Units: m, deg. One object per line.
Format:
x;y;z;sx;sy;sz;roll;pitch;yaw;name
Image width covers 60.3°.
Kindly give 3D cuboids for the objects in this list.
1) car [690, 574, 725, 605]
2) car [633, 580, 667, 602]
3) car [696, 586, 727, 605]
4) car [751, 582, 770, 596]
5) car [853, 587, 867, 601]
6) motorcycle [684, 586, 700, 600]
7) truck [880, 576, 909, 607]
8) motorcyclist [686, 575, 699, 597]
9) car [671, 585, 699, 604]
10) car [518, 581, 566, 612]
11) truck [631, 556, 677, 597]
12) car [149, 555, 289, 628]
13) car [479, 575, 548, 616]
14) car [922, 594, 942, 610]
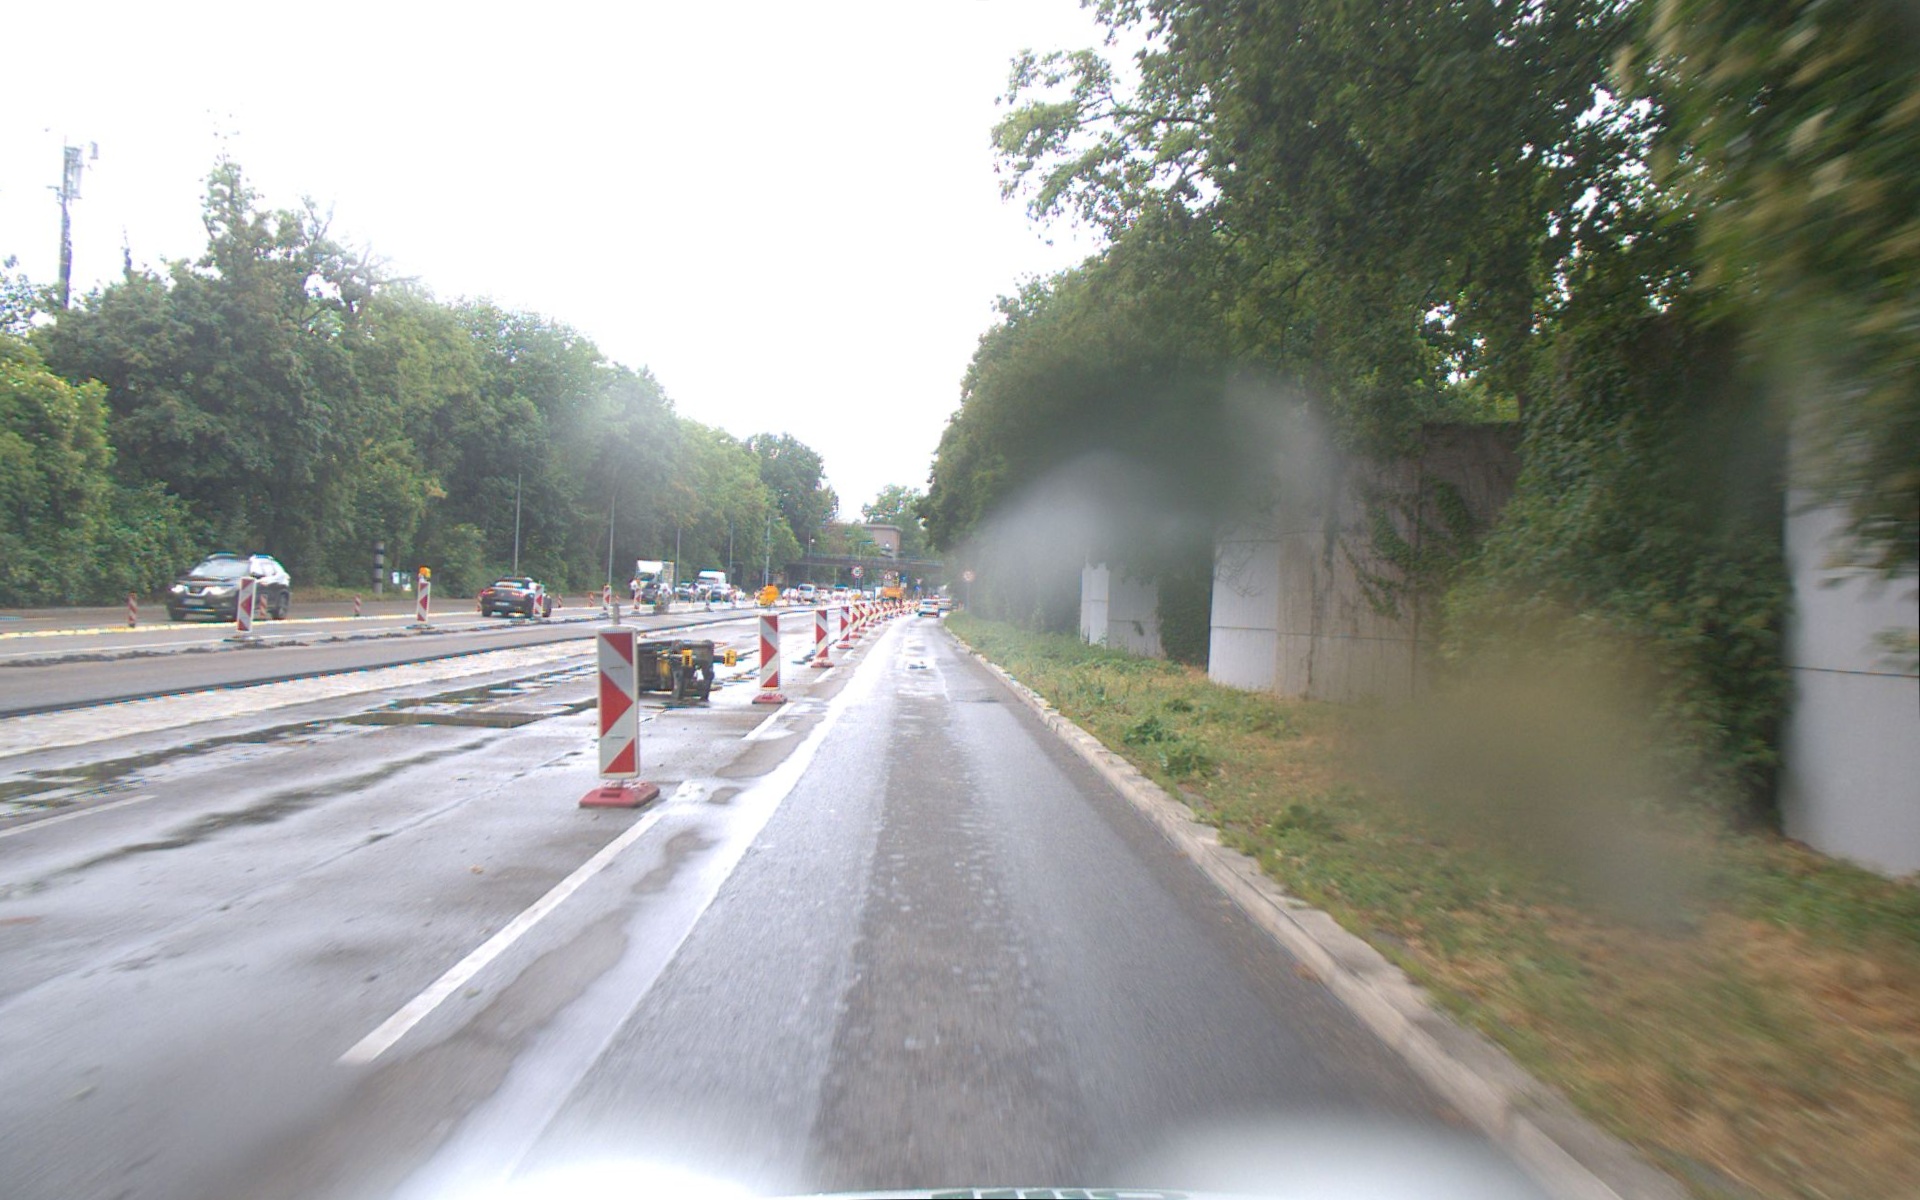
-23.005;-0.962;150.932;2.057;2.624;6.853;2;0;-1;car
-21.229;-0.628;113.226;1.636;1.440;4.318;2;0;-2;car
-21.331;-0.425;142.126;1.920;1.557;4.436;2;0;-1;car
-23.039;-1.276;191.371;1.636;1.511;4.320;2;0;-1;car
-13.550;-0.826;224.176;1.636;1.840;4.320;2;1;-1;car
-20.566;-0.565;126.959;0.811;1.032;2.366;3;0;-2;motorcycle
-7.969;-1.098;202.077;3.193;3.558;13.866;2;0;-1;truck
-20.542;-1.071;126.943;0.811;1.592;0.926;3;0;-2;motorcyclist
-23.669;-0.485;142.488;1.636;1.511;4.320;2;0;-1;car
-19.060;-0.164;75.550;1.419;1.355;3.858;2;0;-4;car
-23.493;-1.766;127.390;2.200;2.991;6.934;2;0;-1;truck
-19.235;-0.219;43.143;1.700;1.752;4.492;2;0;-2;car
-16.555;-0.167;61.520;1.575;1.429;4.039;2;0;-2;car
-2.434;0.192;142.541;1.663;1.359;3.490;0;0;-1;car
